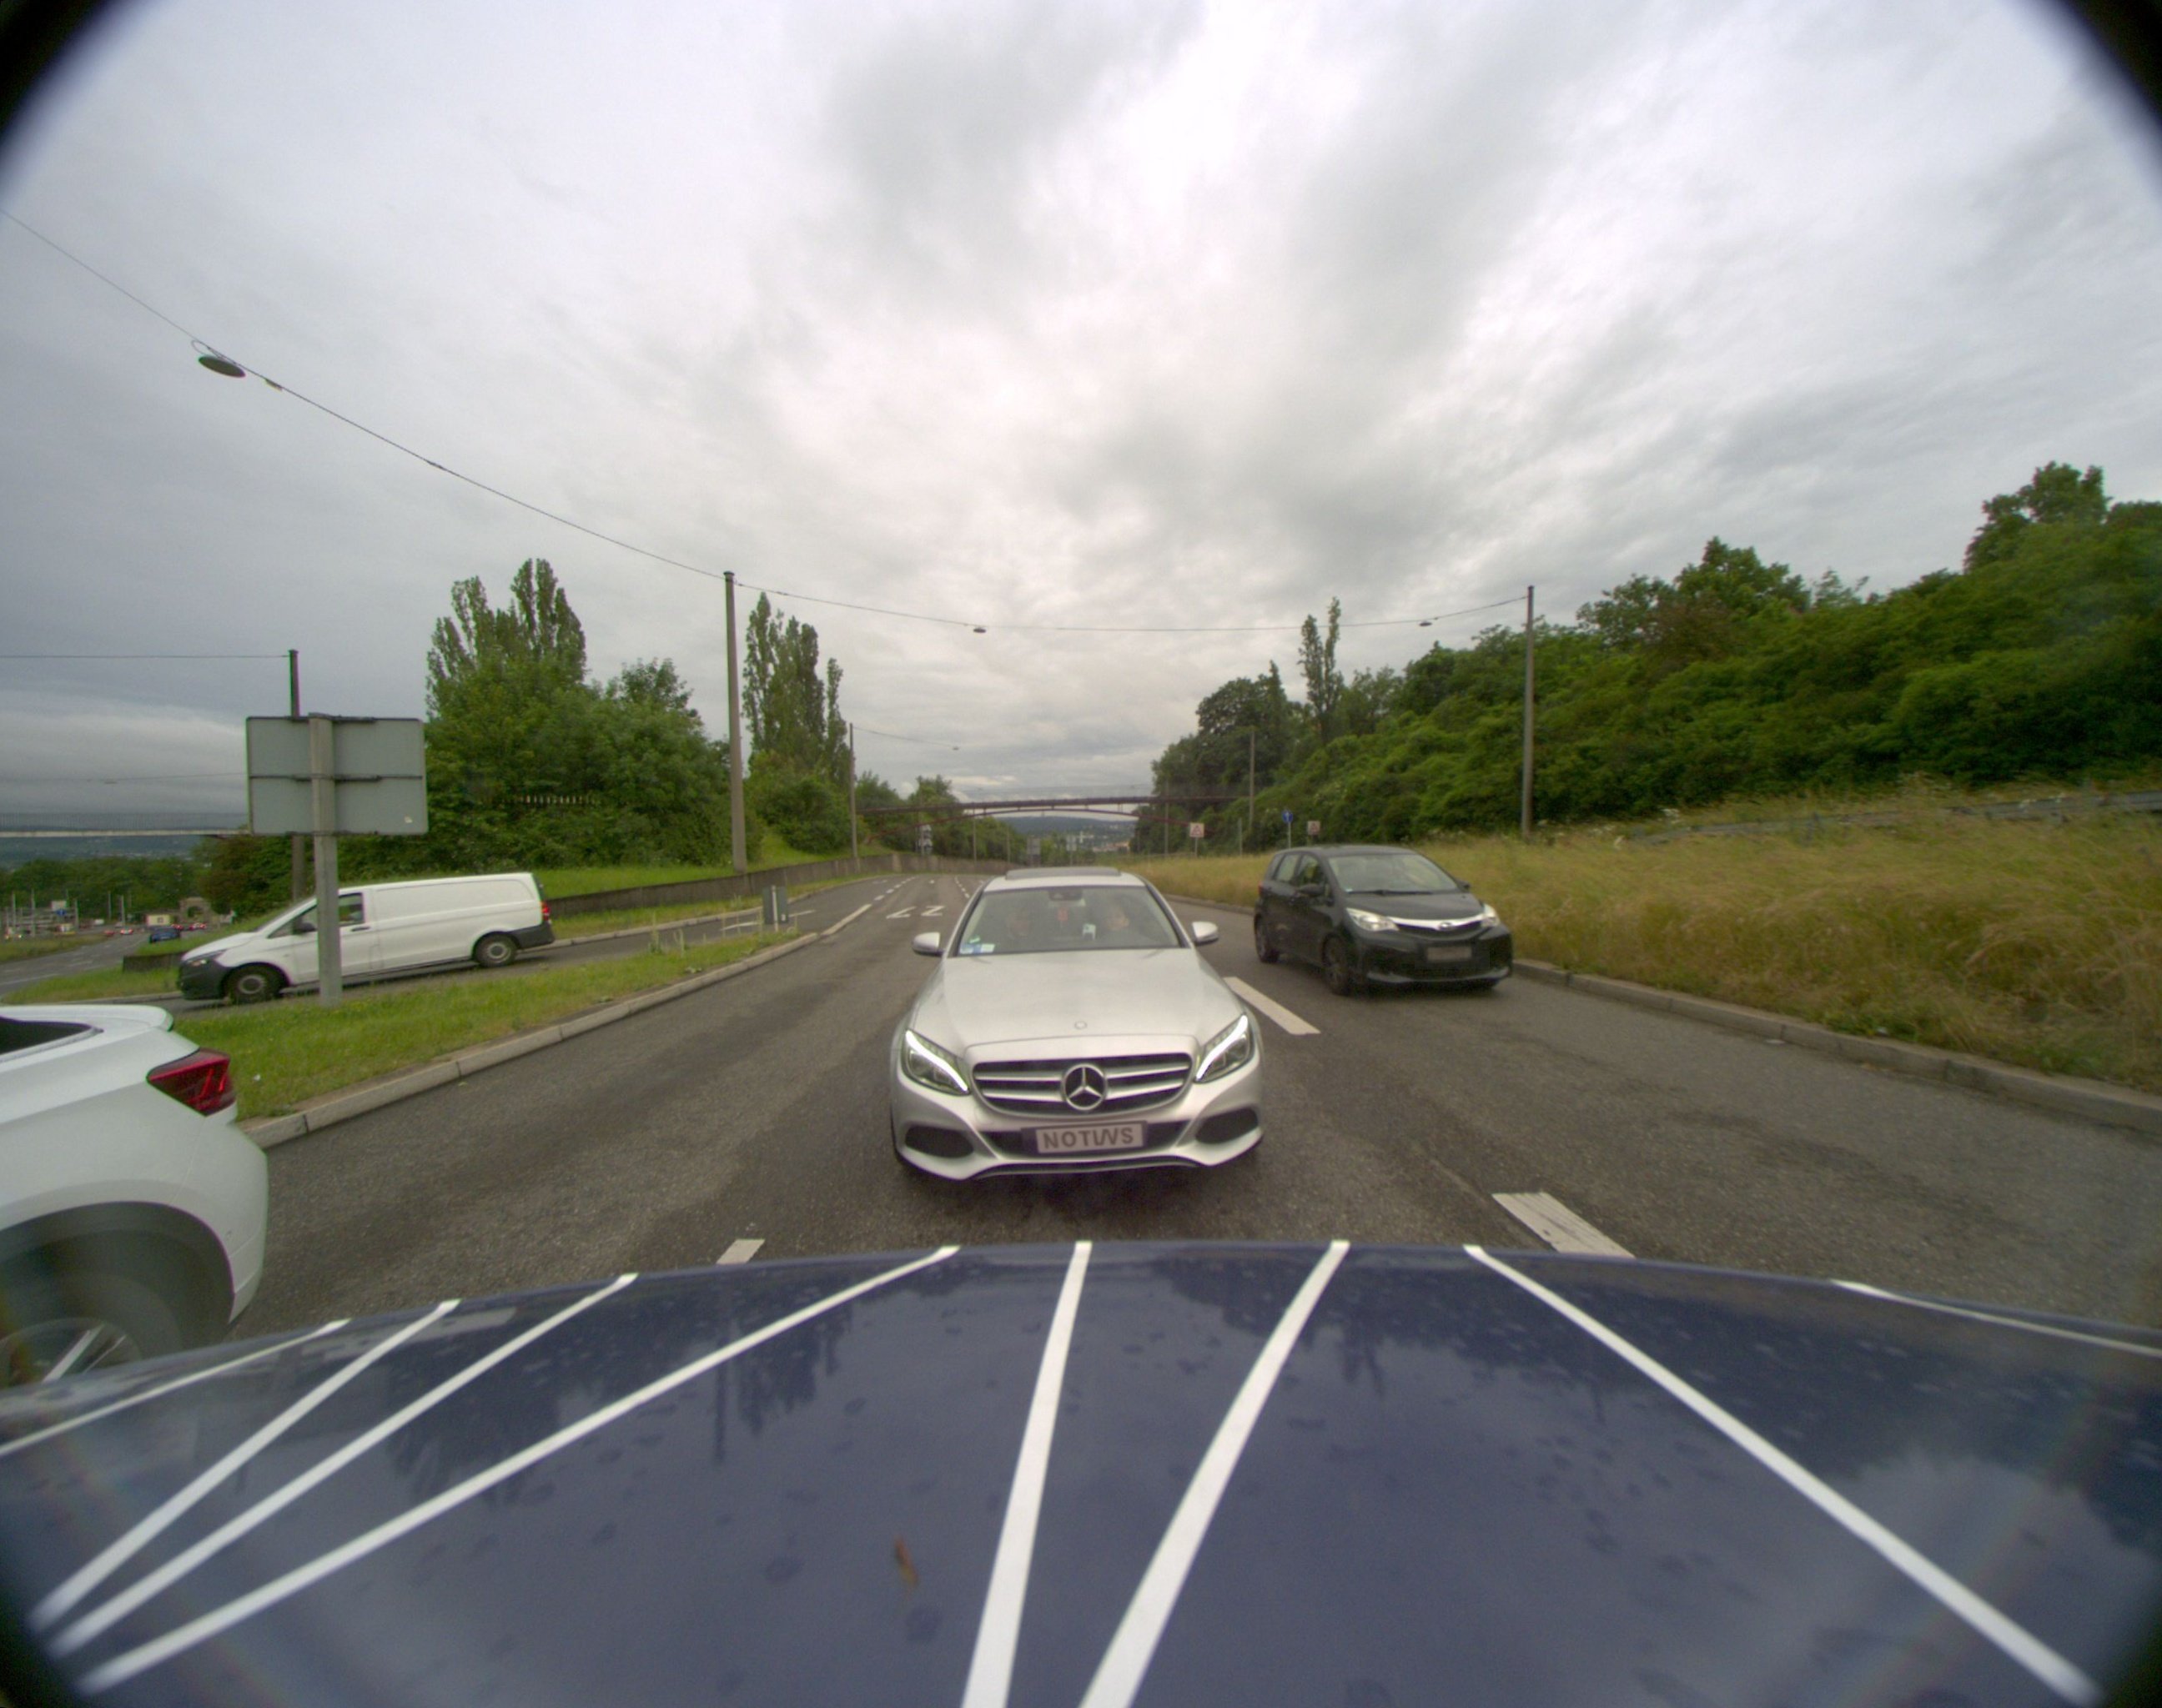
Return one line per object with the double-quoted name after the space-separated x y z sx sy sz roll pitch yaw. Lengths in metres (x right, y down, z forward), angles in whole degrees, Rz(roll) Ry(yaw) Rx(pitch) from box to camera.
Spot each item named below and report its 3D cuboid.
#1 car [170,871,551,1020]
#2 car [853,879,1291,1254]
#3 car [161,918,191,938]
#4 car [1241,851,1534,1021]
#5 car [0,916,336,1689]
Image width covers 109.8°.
-13.293 1.554 14.446 1.995 1.838 4.830 -5 2 45 "car"
-0.200 0.988 5.402 1.895 1.361 4.132 -2 1 -5 "car"
-82.354 6.706 69.164 4.280 1.467 1.703 -1 2 40 "car"
3.251 0.767 8.917 1.646 1.495 3.777 -2 0 -4 "car"
-3.074 1.023 0.157 1.718 1.544 4.227 -2 1 -3 "car"
